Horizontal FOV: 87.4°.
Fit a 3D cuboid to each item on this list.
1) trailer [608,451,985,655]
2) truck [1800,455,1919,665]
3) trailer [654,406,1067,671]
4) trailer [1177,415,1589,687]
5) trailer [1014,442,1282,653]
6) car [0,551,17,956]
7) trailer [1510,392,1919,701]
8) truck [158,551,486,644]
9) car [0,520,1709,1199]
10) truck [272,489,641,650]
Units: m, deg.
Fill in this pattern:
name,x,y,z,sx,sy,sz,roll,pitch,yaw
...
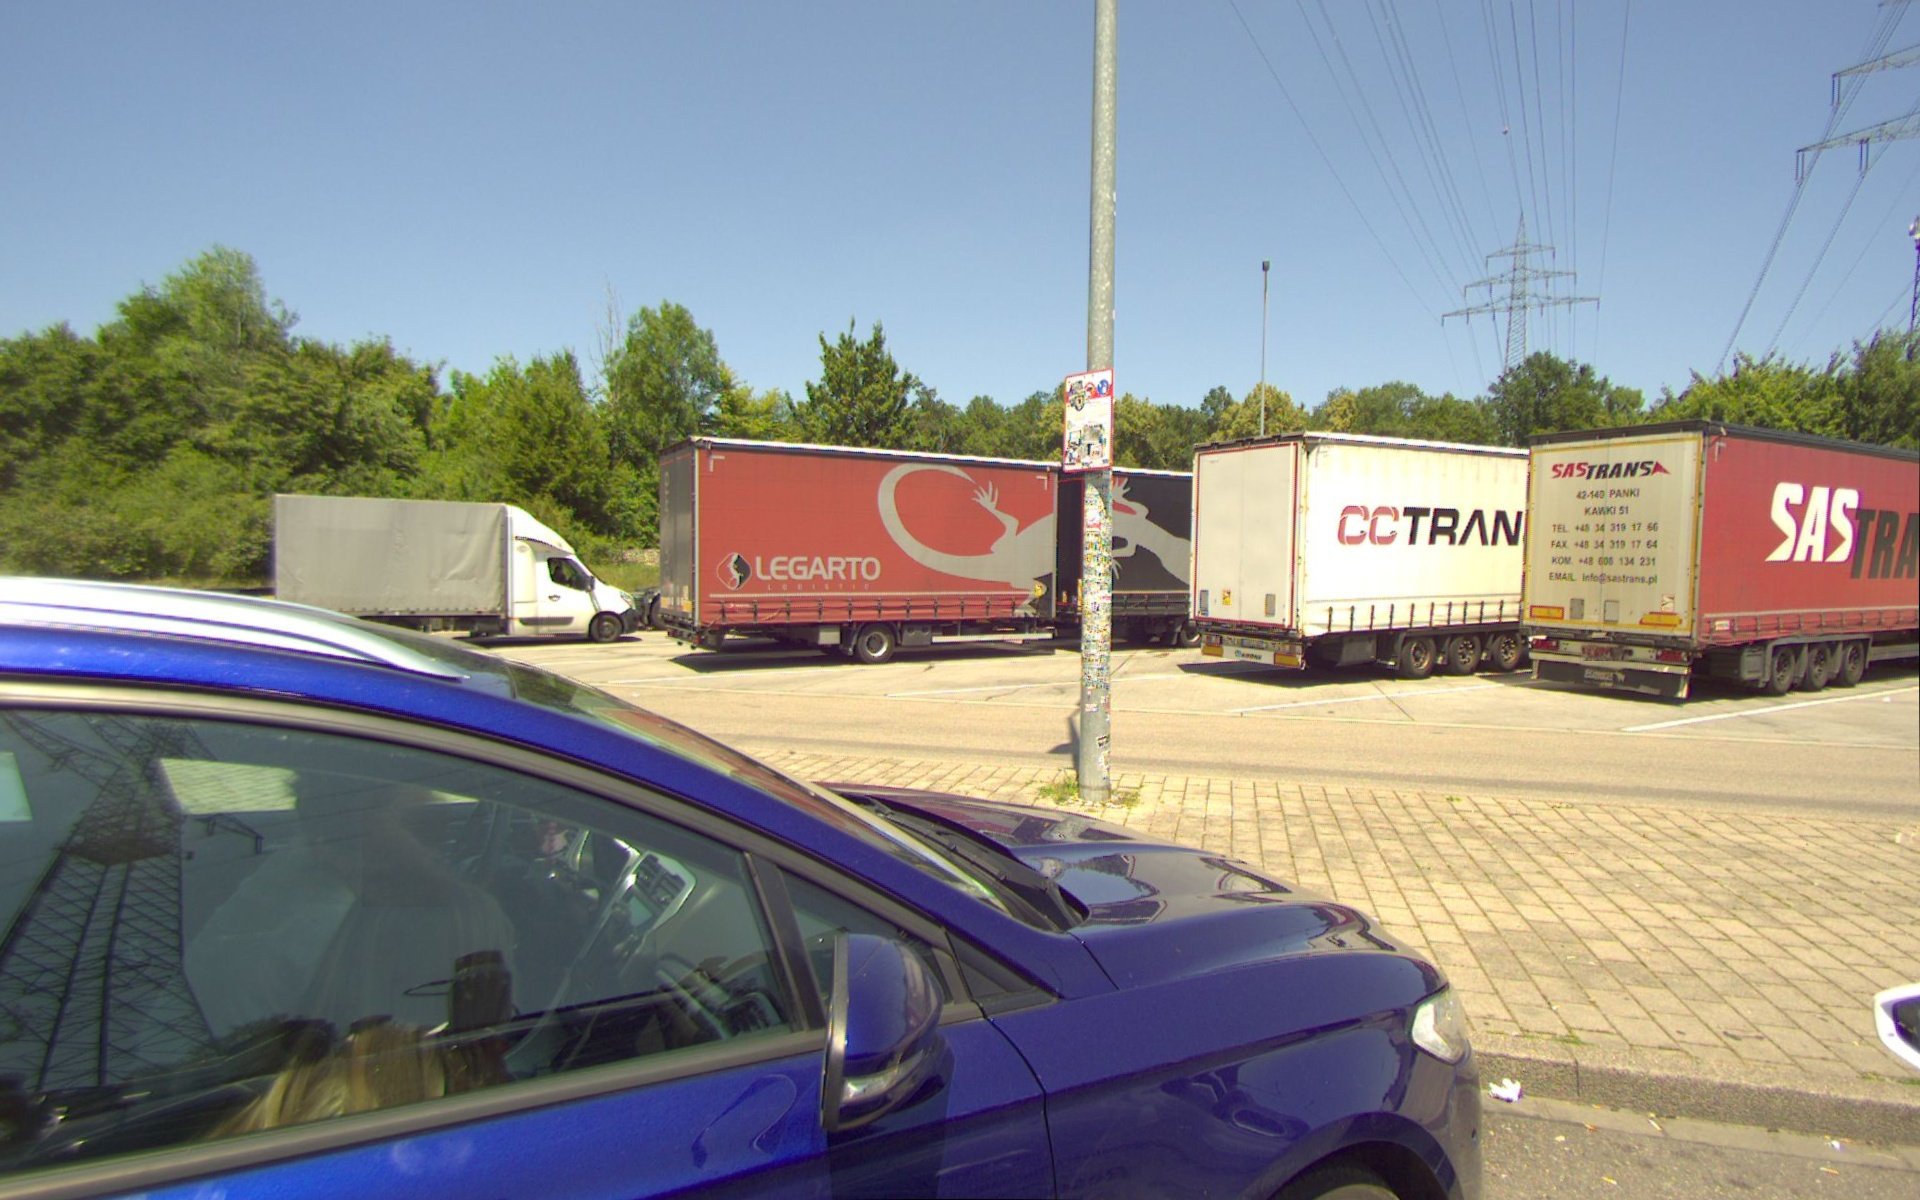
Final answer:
name,x,y,z,sx,sy,sz,roll,pitch,yaw
trailer,-3.616,-0.913,23.185,8.189,4.053,2.720,0,0,-30
truck,21.451,-0.787,22.065,5.824,4.189,2.792,0,0,-30
trailer,-1.834,-1.035,20.299,7.963,4.510,2.648,0,0,-31
trailer,8.097,-0.762,18.819,8.189,4.208,2.741,0,1,-30
trailer,4.558,-1.111,24.087,6.076,4.505,2.665,0,0,-30
car,-4.330,0.510,2.185,3.077,1.378,1.334,1,0,-30
trailer,15.267,-0.707,18.431,13.046,4.276,2.786,0,0,-31
truck,-15.254,-0.035,24.547,6.538,2.040,1.984,0,0,-31
car,-0.978,0.662,1.437,4.362,1.437,1.731,1,0,-30
truck,-11.137,-0.596,22.769,7.171,3.194,2.160,0,1,-30
